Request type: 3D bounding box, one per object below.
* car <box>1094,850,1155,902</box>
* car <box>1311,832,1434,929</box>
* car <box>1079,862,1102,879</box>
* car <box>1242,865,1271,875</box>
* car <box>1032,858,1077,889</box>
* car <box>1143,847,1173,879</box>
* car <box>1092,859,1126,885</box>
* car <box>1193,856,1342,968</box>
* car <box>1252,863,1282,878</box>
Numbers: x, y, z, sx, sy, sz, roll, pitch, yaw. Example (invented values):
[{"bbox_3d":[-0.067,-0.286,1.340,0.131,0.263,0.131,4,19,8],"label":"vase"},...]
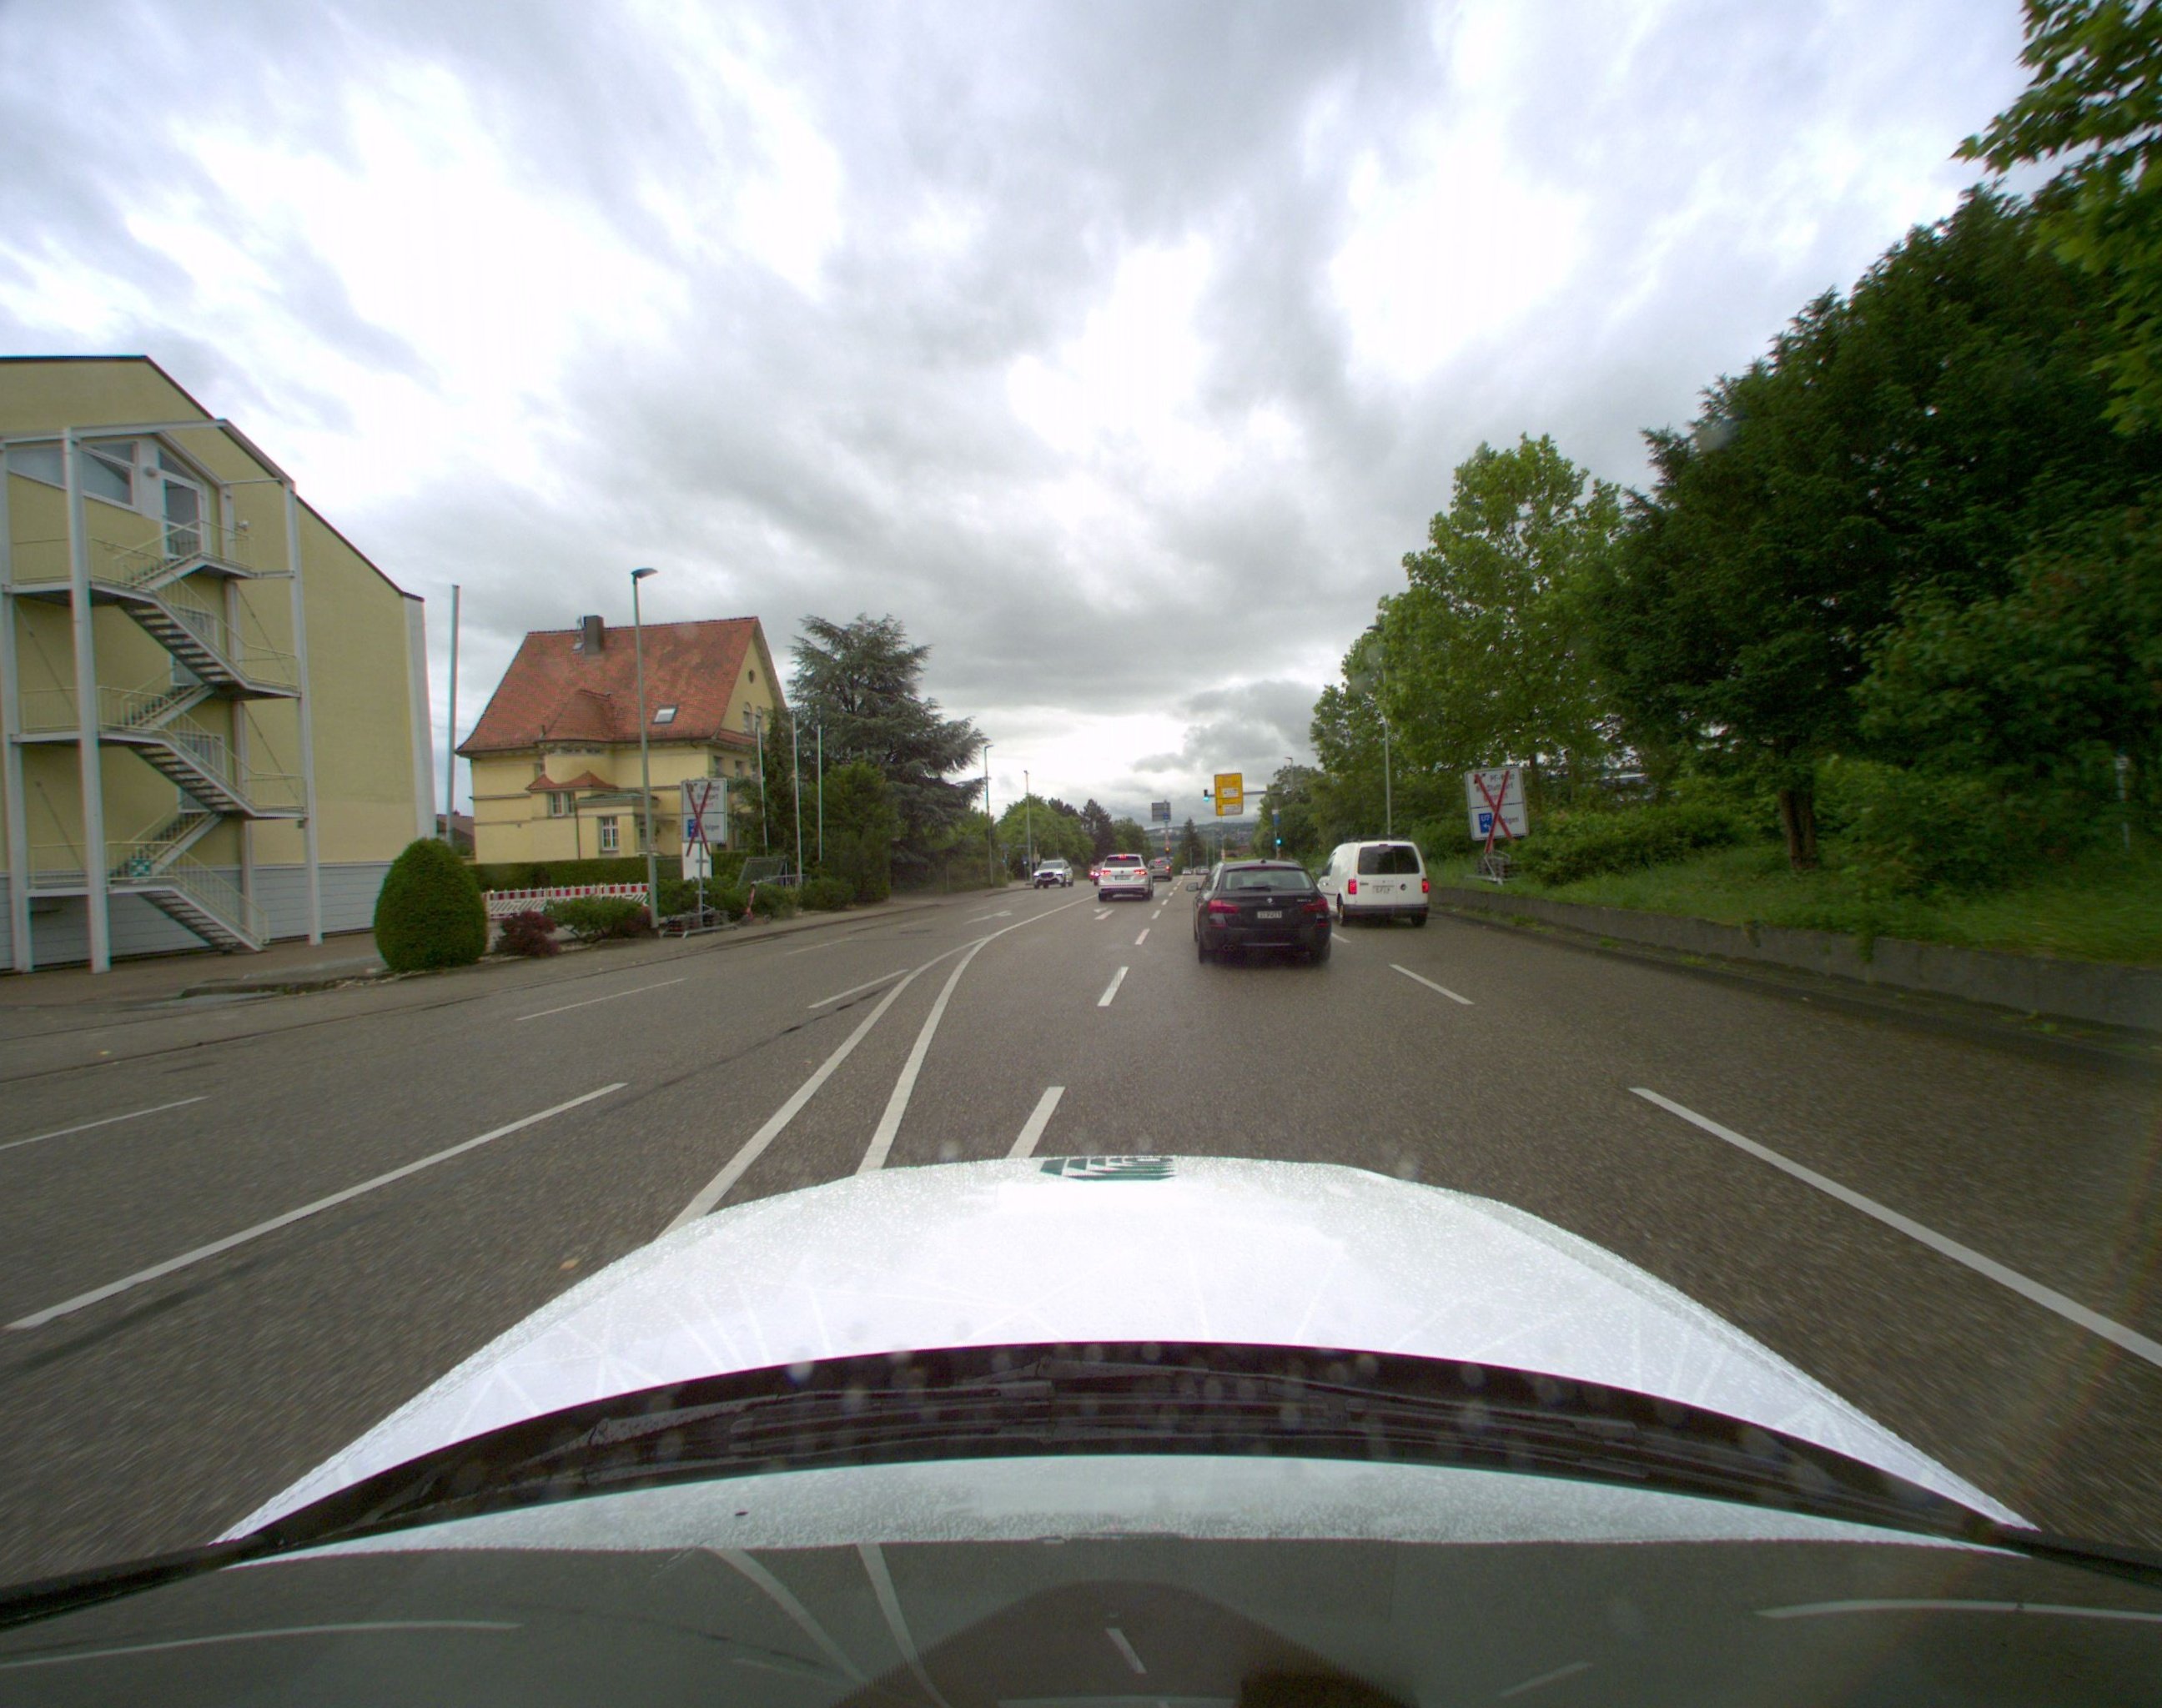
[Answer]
[{"bbox_3d":[1.674,0.756,30.047,1.858,1.673,4.009,-1,1,8],"label":"car"},{"bbox_3d":[6.355,0.488,18.155,1.755,1.877,3.813,-1,2,7],"label":"car"},{"bbox_3d":[0.891,1.532,77.031,1.623,1.456,3.710,-4,-1,7],"label":"car"},{"bbox_3d":[25.186,2.312,117.003,3.961,1.376,1.590,-1,-1,11],"label":"car"},{"bbox_3d":[-1.676,1.213,52.751,1.906,1.763,5.154,-5,-1,8],"label":"car"},{"bbox_3d":[5.272,0.602,55.468,1.800,2.088,3.859,-1,0,8],"label":"car"},{"bbox_3d":[1.798,1.114,51.360,1.672,1.419,3.849,-4,-1,8],"label":"car"},{"bbox_3d":[2.703,0.766,12.608,1.888,1.441,4.009,-1,0,8],"label":"car"},{"bbox_3d":[25.437,2.261,111.552,3.961,1.956,1.590,-1,-1,11],"label":"car"}]
